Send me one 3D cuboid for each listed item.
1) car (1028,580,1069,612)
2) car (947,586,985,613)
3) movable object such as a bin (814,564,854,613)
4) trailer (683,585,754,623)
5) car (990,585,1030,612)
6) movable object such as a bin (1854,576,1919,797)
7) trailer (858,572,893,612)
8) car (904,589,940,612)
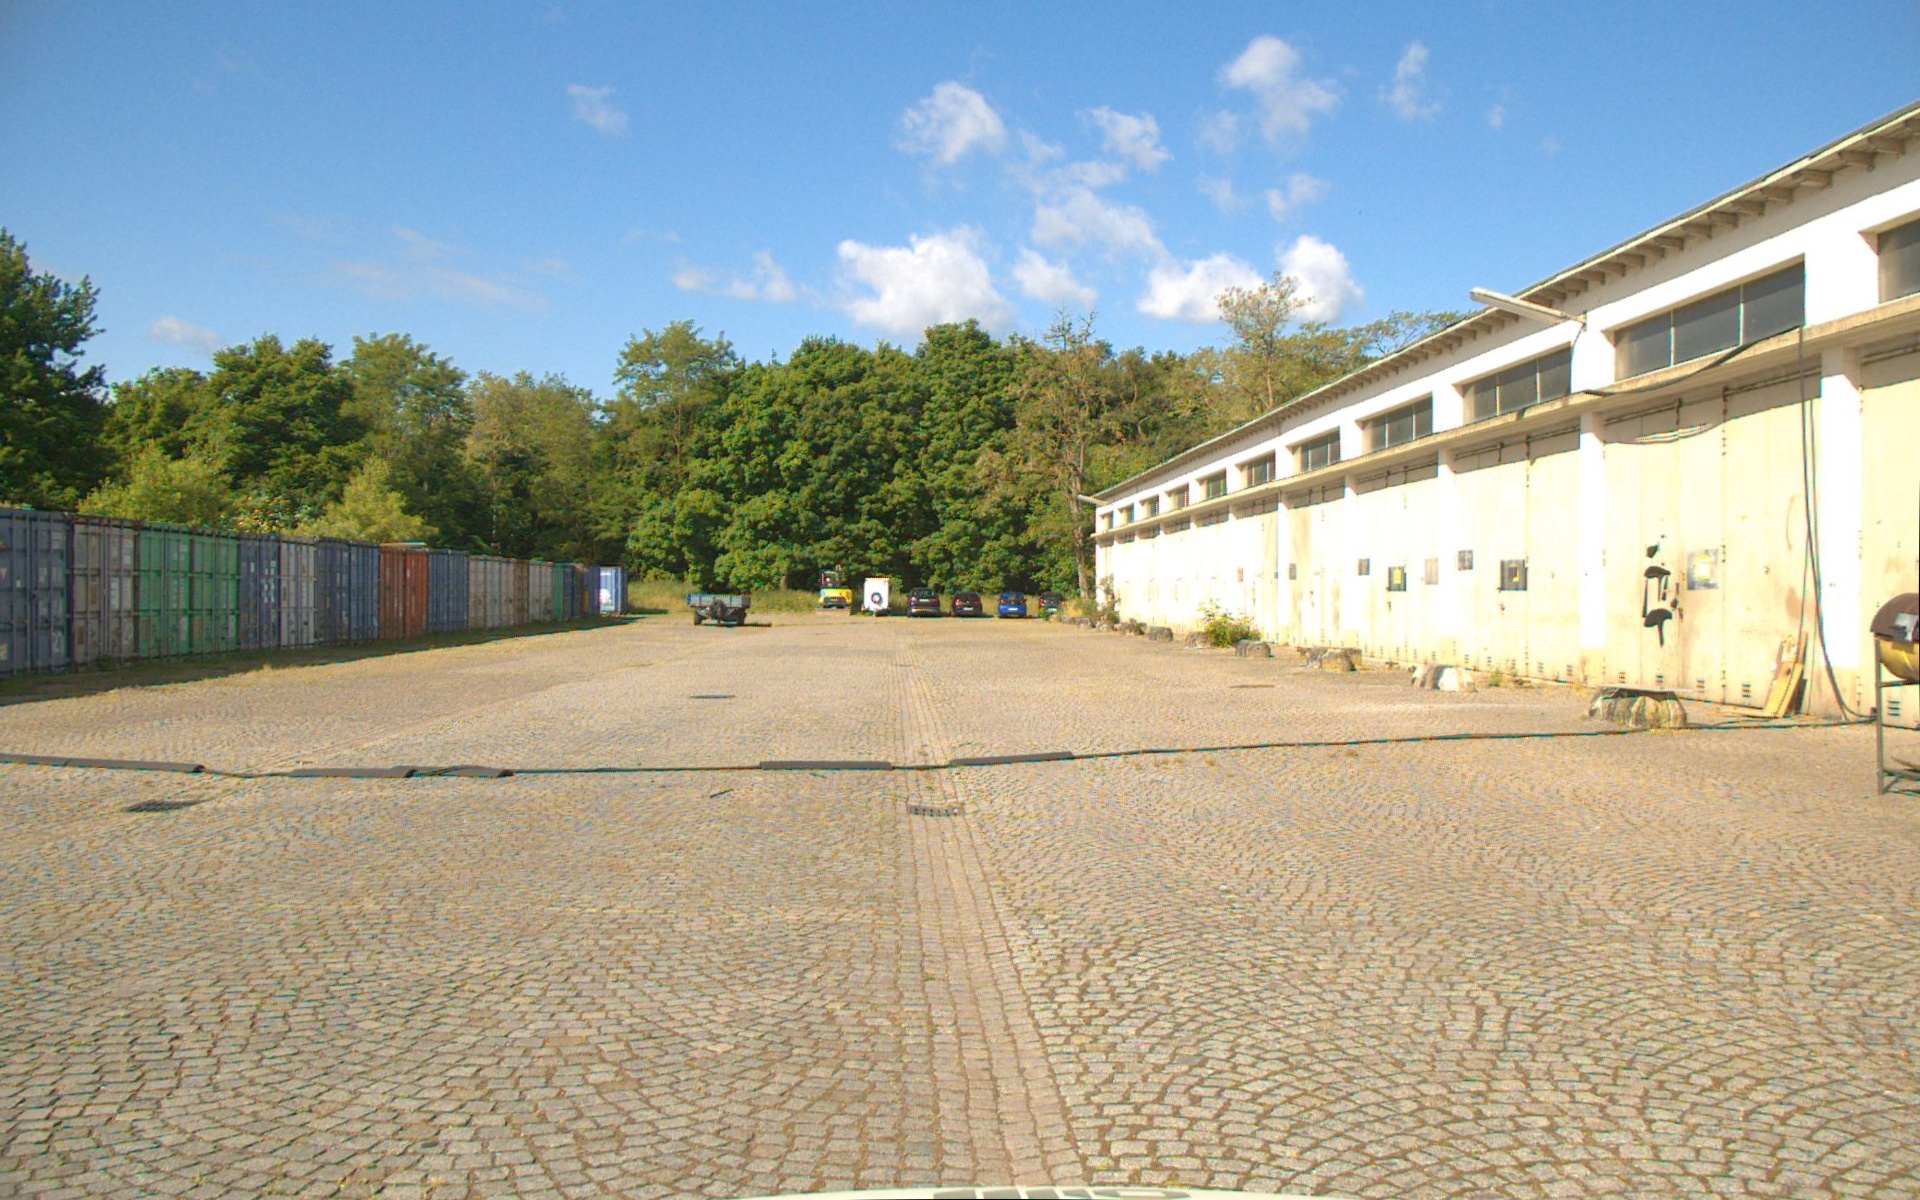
[{"bbox_3d":[5.095,-0.245,95.612,1.954,1.803,3.998,-1,0,-3],"label":"car"},{"bbox_3d":[0.300,-0.041,94.138,1.954,1.449,3.998,-1,0,-3],"label":"car"},{"bbox_3d":[-7.276,-0.666,95.376,2.188,2.703,3.996,0,0,-5],"label":"movable object such as a bin"},{"bbox_3d":[-11.015,0.155,75.864,2.736,1.675,5.617,-1,0,-4],"label":"trailer"},{"bbox_3d":[2.837,-0.098,94.254,1.954,1.491,3.998,-1,0,-3],"label":"car"},{"bbox_3d":[6.599,0.554,10.834,0.857,1.426,1.101,0,0,-4],"label":"movable object such as a bin"},{"bbox_3d":[-4.829,-0.470,94.741,1.954,2.200,4.429,-1,0,-3],"label":"trailer"},{"bbox_3d":[-2.158,0.004,93.641,1.954,1.280,3.998,-1,0,-3],"label":"car"}]
